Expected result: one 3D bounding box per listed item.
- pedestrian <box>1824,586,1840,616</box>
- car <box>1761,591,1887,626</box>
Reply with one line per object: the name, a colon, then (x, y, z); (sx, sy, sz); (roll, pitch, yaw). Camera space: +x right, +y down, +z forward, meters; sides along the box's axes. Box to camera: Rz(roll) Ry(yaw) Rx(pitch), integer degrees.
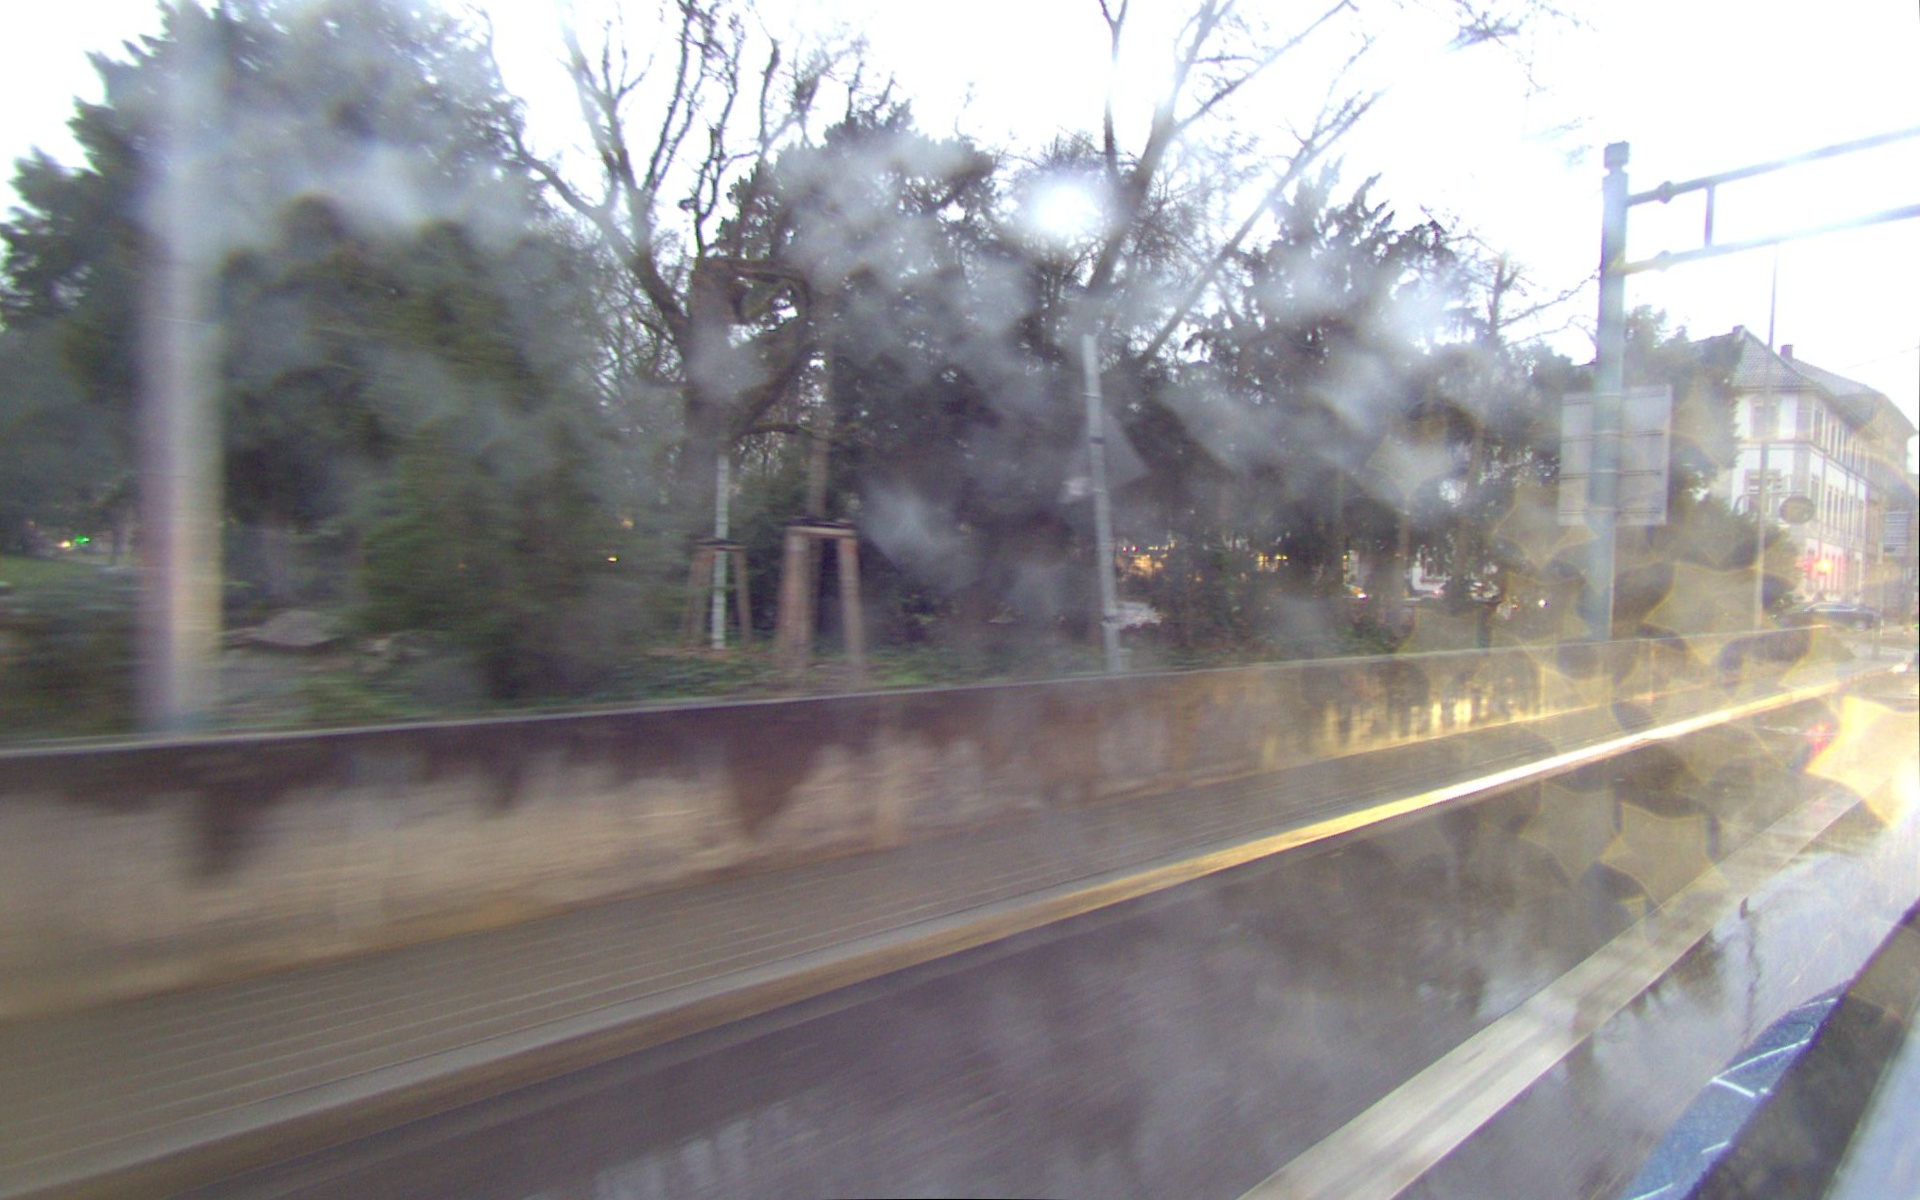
pedestrian: (44.886, 0.054, 52.092); (0.577, 1.529, 0.520); (1, 2, -41)
car: (39.909, 0.371, 46.845); (3.949, 1.429, 1.866); (2, 2, 19)
